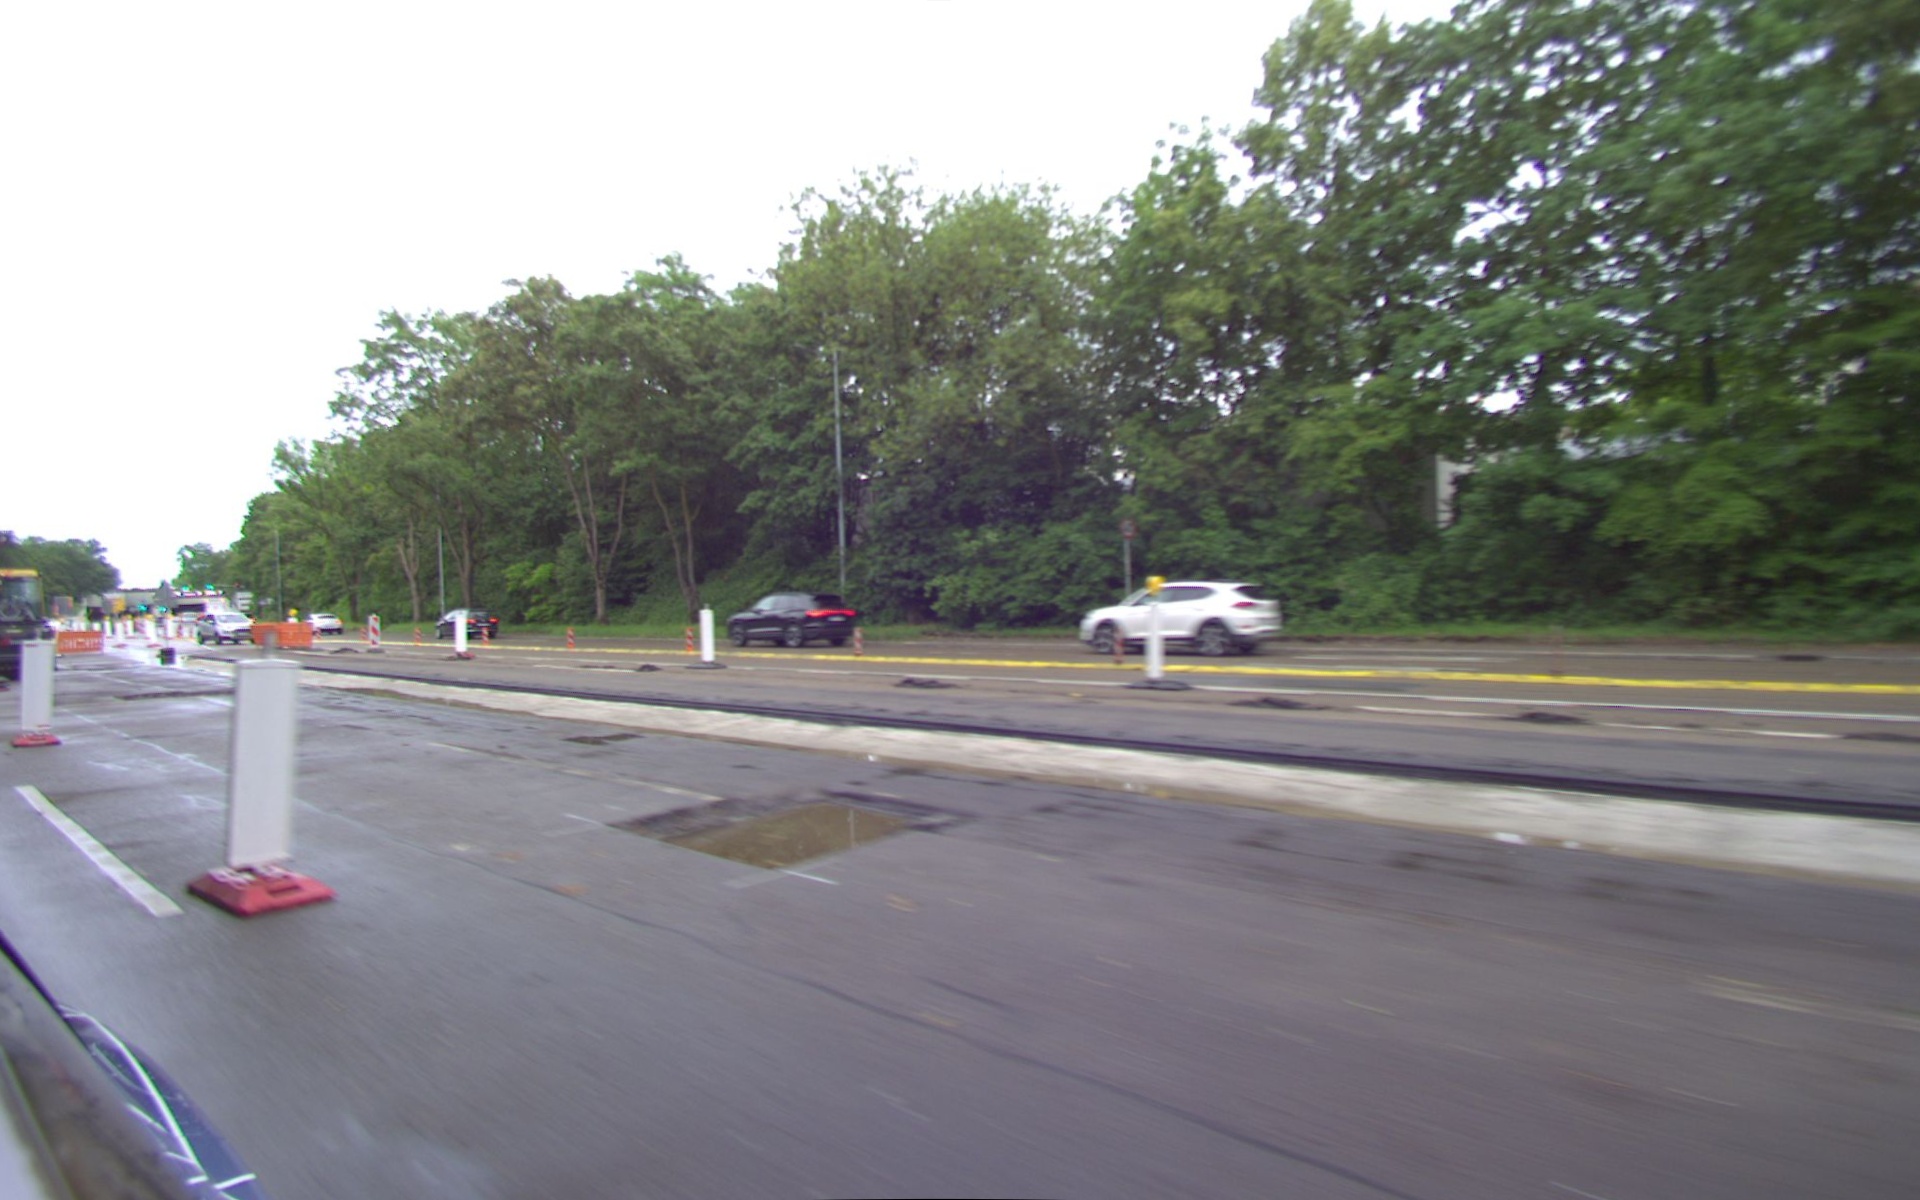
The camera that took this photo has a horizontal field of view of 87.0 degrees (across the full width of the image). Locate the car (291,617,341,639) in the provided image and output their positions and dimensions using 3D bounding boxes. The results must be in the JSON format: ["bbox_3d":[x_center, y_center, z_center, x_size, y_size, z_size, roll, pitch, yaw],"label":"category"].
[{"bbox_3d":[-43.560,1.890,68.368,4.469,1.437,1.765,-2,0,43],"label":"car"}]

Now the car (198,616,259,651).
[{"bbox_3d":[-36.813,1.656,50.905,3.862,1.596,1.769,-1,1,44],"label":"car"}]

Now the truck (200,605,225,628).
[{"bbox_3d":[-127.038,2.766,172.052,3.101,3.860,9.669,-1,0,-36],"label":"truck"}]

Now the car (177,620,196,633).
[{"bbox_3d":[-99.497,3.409,130.117,1.654,1.626,3.774,0,-1,-42],"label":"car"}]

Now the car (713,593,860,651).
[{"bbox_3d":[-5.507,0.694,31.741,4.910,1.676,1.759,-2,-1,39],"label":"car"}]

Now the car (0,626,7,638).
[{"bbox_3d":[-122.125,4.062,128.261,1.686,1.453,4.237,-1,0,-41],"label":"car"}]

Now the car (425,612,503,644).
[{"bbox_3d":[-24.749,1.387,50.417,4.679,1.463,1.766,-2,0,41],"label":"car"}]

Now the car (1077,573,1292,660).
[{"bbox_3d":[4.956,0.363,22.705,4.376,1.764,1.759,-2,0,39],"label":"car"}]

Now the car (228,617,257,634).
[{"bbox_3d":[-72.886,2.568,102.770,1.655,1.626,4.771,0,-1,-44],"label":"car"}]

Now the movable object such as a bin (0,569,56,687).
[{"bbox_3d":[-26.107,0.751,27.552,5.246,3.008,1.784,-1,0,44],"label":"movable object such as a bin"}]
